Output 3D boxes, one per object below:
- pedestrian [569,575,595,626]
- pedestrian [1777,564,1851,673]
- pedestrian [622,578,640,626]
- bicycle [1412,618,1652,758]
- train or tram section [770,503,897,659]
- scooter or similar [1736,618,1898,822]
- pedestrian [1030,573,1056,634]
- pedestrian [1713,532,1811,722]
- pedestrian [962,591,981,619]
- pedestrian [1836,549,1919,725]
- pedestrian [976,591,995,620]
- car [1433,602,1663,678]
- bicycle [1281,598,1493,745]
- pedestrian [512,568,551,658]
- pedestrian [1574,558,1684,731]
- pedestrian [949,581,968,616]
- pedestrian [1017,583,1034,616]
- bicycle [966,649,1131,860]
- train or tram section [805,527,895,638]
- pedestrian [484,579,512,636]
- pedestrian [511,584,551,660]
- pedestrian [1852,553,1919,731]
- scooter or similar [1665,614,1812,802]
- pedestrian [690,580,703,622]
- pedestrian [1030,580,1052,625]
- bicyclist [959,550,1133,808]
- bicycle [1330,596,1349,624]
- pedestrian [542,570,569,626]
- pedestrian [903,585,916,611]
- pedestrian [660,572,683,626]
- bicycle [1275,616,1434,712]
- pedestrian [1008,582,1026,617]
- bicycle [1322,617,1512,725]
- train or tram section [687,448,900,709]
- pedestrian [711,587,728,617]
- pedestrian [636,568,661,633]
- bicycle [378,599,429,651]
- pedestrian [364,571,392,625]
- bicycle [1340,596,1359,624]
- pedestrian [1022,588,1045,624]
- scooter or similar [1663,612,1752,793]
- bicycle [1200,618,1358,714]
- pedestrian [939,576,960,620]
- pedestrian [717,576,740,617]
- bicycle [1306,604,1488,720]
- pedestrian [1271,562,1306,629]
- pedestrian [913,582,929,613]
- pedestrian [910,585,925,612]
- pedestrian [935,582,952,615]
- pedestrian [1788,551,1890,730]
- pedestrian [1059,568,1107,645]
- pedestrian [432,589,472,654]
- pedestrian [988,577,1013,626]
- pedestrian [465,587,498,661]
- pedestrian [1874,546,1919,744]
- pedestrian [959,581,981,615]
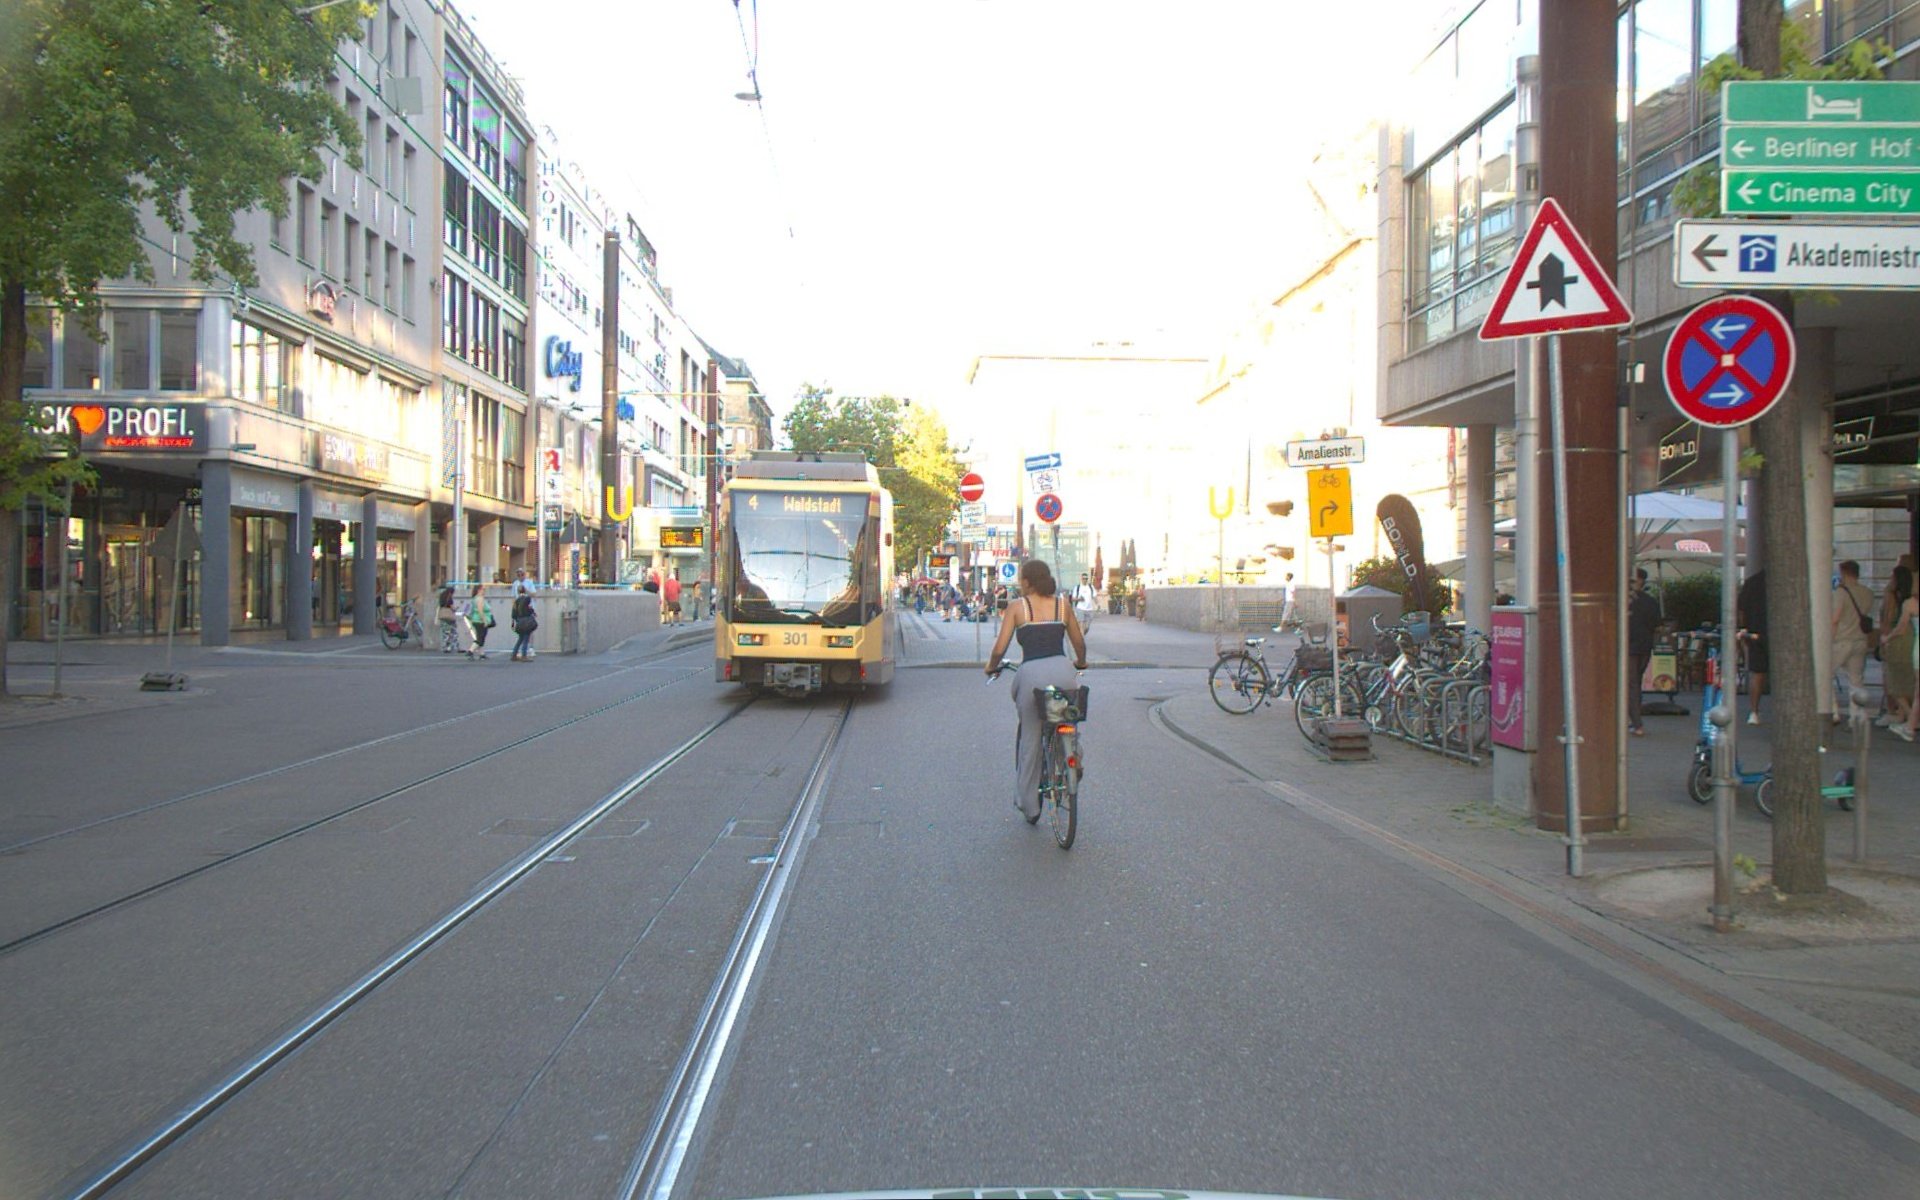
[{"bbox_3d":[-12.146,0.016,53.137,0.623,1.616,0.595,1,-1,-45],"label":"pedestrian"},{"bbox_3d":[15.010,0.315,29.094,0.787,1.871,0.874,2,0,-3],"label":"pedestrian"},{"bbox_3d":[-11.073,0.080,55.729,0.592,1.616,0.626,0,-1,-12],"label":"pedestrian"},{"bbox_3d":[5.276,0.795,15.301,1.958,1.175,0.724,-2,0,-7],"label":"bicycle"},{"bbox_3d":[-3.060,-0.472,43.236,2.744,3.377,14.501,0,0,-2],"label":"train or tram section"},{"bbox_3d":[5.773,0.775,11.131,1.102,1.273,0.491,-1,1,-33],"label":"scooter or similar"},{"bbox_3d":[2.434,0.097,48.309,0.703,1.756,0.709,0,-1,-2],"label":"pedestrian"},{"bbox_3d":[8.875,0.292,18.319,0.672,2.049,0.782,-1,0,-2],"label":"pedestrian"},{"bbox_3d":[0.510,0.235,74.076,0.777,1.243,0.768,0,0,-6],"label":"pedestrian"},{"bbox_3d":[10.070,0.395,18.040,0.649,1.880,0.719,-1,0,4],"label":"pedestrian"},{"bbox_3d":[1.130,0.246,73.297,0.777,1.243,0.768,0,0,-6],"label":"pedestrian"},{"bbox_3d":[11.691,0.795,33.045,3.959,1.433,1.774,1,-1,-3],"label":"car"},{"bbox_3d":[4.240,0.688,16.483,1.878,1.356,0.724,-2,0,-7],"label":"bicycle"},{"bbox_3d":[-9.394,0.288,36.241,0.759,1.960,0.708,0,-1,-10],"label":"pedestrian"},{"bbox_3d":[6.953,0.453,17.228,0.748,1.749,0.923,-1,0,-1],"label":"pedestrian"},{"bbox_3d":[-0.065,-0.083,81.352,0.775,1.690,0.770,0,0,9],"label":"pedestrian"},{"bbox_3d":[3.390,-0.018,85.250,0.775,1.690,0.770,0,0,9],"label":"pedestrian"},{"bbox_3d":[0.507,0.910,10.444,0.799,1.092,2.112,2,0,-3],"label":"bicycle"},{"bbox_3d":[-3.665,-0.602,57.738,2.744,3.377,14.501,0,0,-2],"label":"train or tram section"},{"bbox_3d":[-14.469,0.243,51.847,0.699,1.756,0.709,0,-1,-4],"label":"pedestrian"},{"bbox_3d":[-8.845,0.454,34.108,0.670,1.569,0.605,0,-1,-3],"label":"pedestrian"},{"bbox_3d":[9.848,0.428,17.276,0.649,1.818,0.719,-1,0,-2],"label":"pedestrian"},{"bbox_3d":[5.646,0.755,11.974,1.176,1.273,0.389,-1,1,-32],"label":"scooter or similar"},{"bbox_3d":[-10.428,0.049,65.384,0.502,1.646,0.504,0,-1,-11],"label":"pedestrian"},{"bbox_3d":[3.397,0.101,69.548,0.758,1.855,0.939,-1,0,-6],"label":"pedestrian"},{"bbox_3d":[0.522,0.476,10.434,0.977,1.528,0.857,2,0,-2],"label":"bicyclist"},{"bbox_3d":[12.212,0.311,53.248,0.309,0.882,0.999,-1,0,-3],"label":"bicycle"},{"bbox_3d":[-12.886,-0.054,52.653,0.595,1.756,0.624,-1,-1,44],"label":"pedestrian"},{"bbox_3d":[-3.341,-0.128,109.266,0.750,1.690,0.795,0,0,7],"label":"pedestrian"},{"bbox_3d":[-9.293,-0.023,53.288,0.700,1.727,0.784,0,-1,-8],"label":"pedestrian"},{"bbox_3d":[4.953,0.791,20.796,1.816,1.128,0.666,-1,0,-5],"label":"bicycle"},{"bbox_3d":[2.799,-0.031,81.612,0.775,1.690,0.770,0,0,9],"label":"pedestrian"},{"bbox_3d":[5.101,0.777,18.510,1.878,1.096,0.762,-2,0,-7],"label":"bicycle"},{"bbox_3d":[-2.461,-0.342,28.725,2.744,3.377,14.501,0,0,-2],"label":"train or tram section"},{"bbox_3d":[-11.408,0.114,78.426,0.693,1.403,0.720,0,-1,-3],"label":"pedestrian"},{"bbox_3d":[-9.435,0.015,50.111,0.700,1.959,0.708,0,-1,-7],"label":"pedestrian"},{"bbox_3d":[-12.958,0.565,38.557,0.488,1.127,1.801,0,2,3],"label":"bicycle"},{"bbox_3d":[-19.000,-0.056,54.011,0.699,1.756,0.709,0,-1,-4],"label":"pedestrian"},{"bbox_3d":[12.531,0.316,53.264,0.309,0.882,0.999,-1,0,-3],"label":"bicycle"},{"bbox_3d":[3.468,0.263,78.111,0.763,1.690,0.782,0,0,-43],"label":"pedestrian"},{"bbox_3d":[5.689,0.746,12.566,0.385,1.273,1.187,0,1,36],"label":"scooter or similar"},{"bbox_3d":[3.961,0.808,20.613,1.816,1.128,0.666,-1,0,-5],"label":"bicycle"},{"bbox_3d":[-0.453,-0.085,70.319,0.722,1.855,0.816,0,0,-17],"label":"pedestrian"},{"bbox_3d":[-9.999,-0.139,71.417,0.700,1.756,0.767,1,-1,-33],"label":"pedestrian"},{"bbox_3d":[5.078,0.699,19.256,1.878,1.244,0.762,-2,0,-7],"label":"bicycle"},{"bbox_3d":[10.135,-0.145,51.081,0.896,2.049,0.772,1,0,-1],"label":"pedestrian"},{"bbox_3d":[-2.131,-0.122,89.950,0.750,1.690,0.795,0,0,10],"label":"pedestrian"},{"bbox_3d":[-2.655,-0.116,103.658,0.775,1.690,0.770,0,0,9],"label":"pedestrian"},{"bbox_3d":[-0.870,-0.094,86.112,0.775,1.690,0.770,0,0,9],"label":"pedestrian"},{"bbox_3d":[9.161,0.415,17.252,0.649,1.818,0.719,-1,0,-2],"label":"pedestrian"},{"bbox_3d":[3.112,0.157,41.844,0.994,1.896,1.041,1,0,-7],"label":"pedestrian"},{"bbox_3d":[-11.439,0.478,37.237,0.544,1.459,0.682,0,-1,36],"label":"pedestrian"},{"bbox_3d":[1.549,0.062,62.903,0.722,1.855,0.816,0,0,-17],"label":"pedestrian"},{"bbox_3d":[-9.935,0.492,34.367,0.592,1.520,0.554,0,-1,-10],"label":"pedestrian"},{"bbox_3d":[9.127,0.413,15.547,0.649,1.818,0.719,-1,0,-2],"label":"pedestrian"},{"bbox_3d":[0.462,-0.101,78.107,0.752,1.606,0.794,0,0,27],"label":"pedestrian"}]
